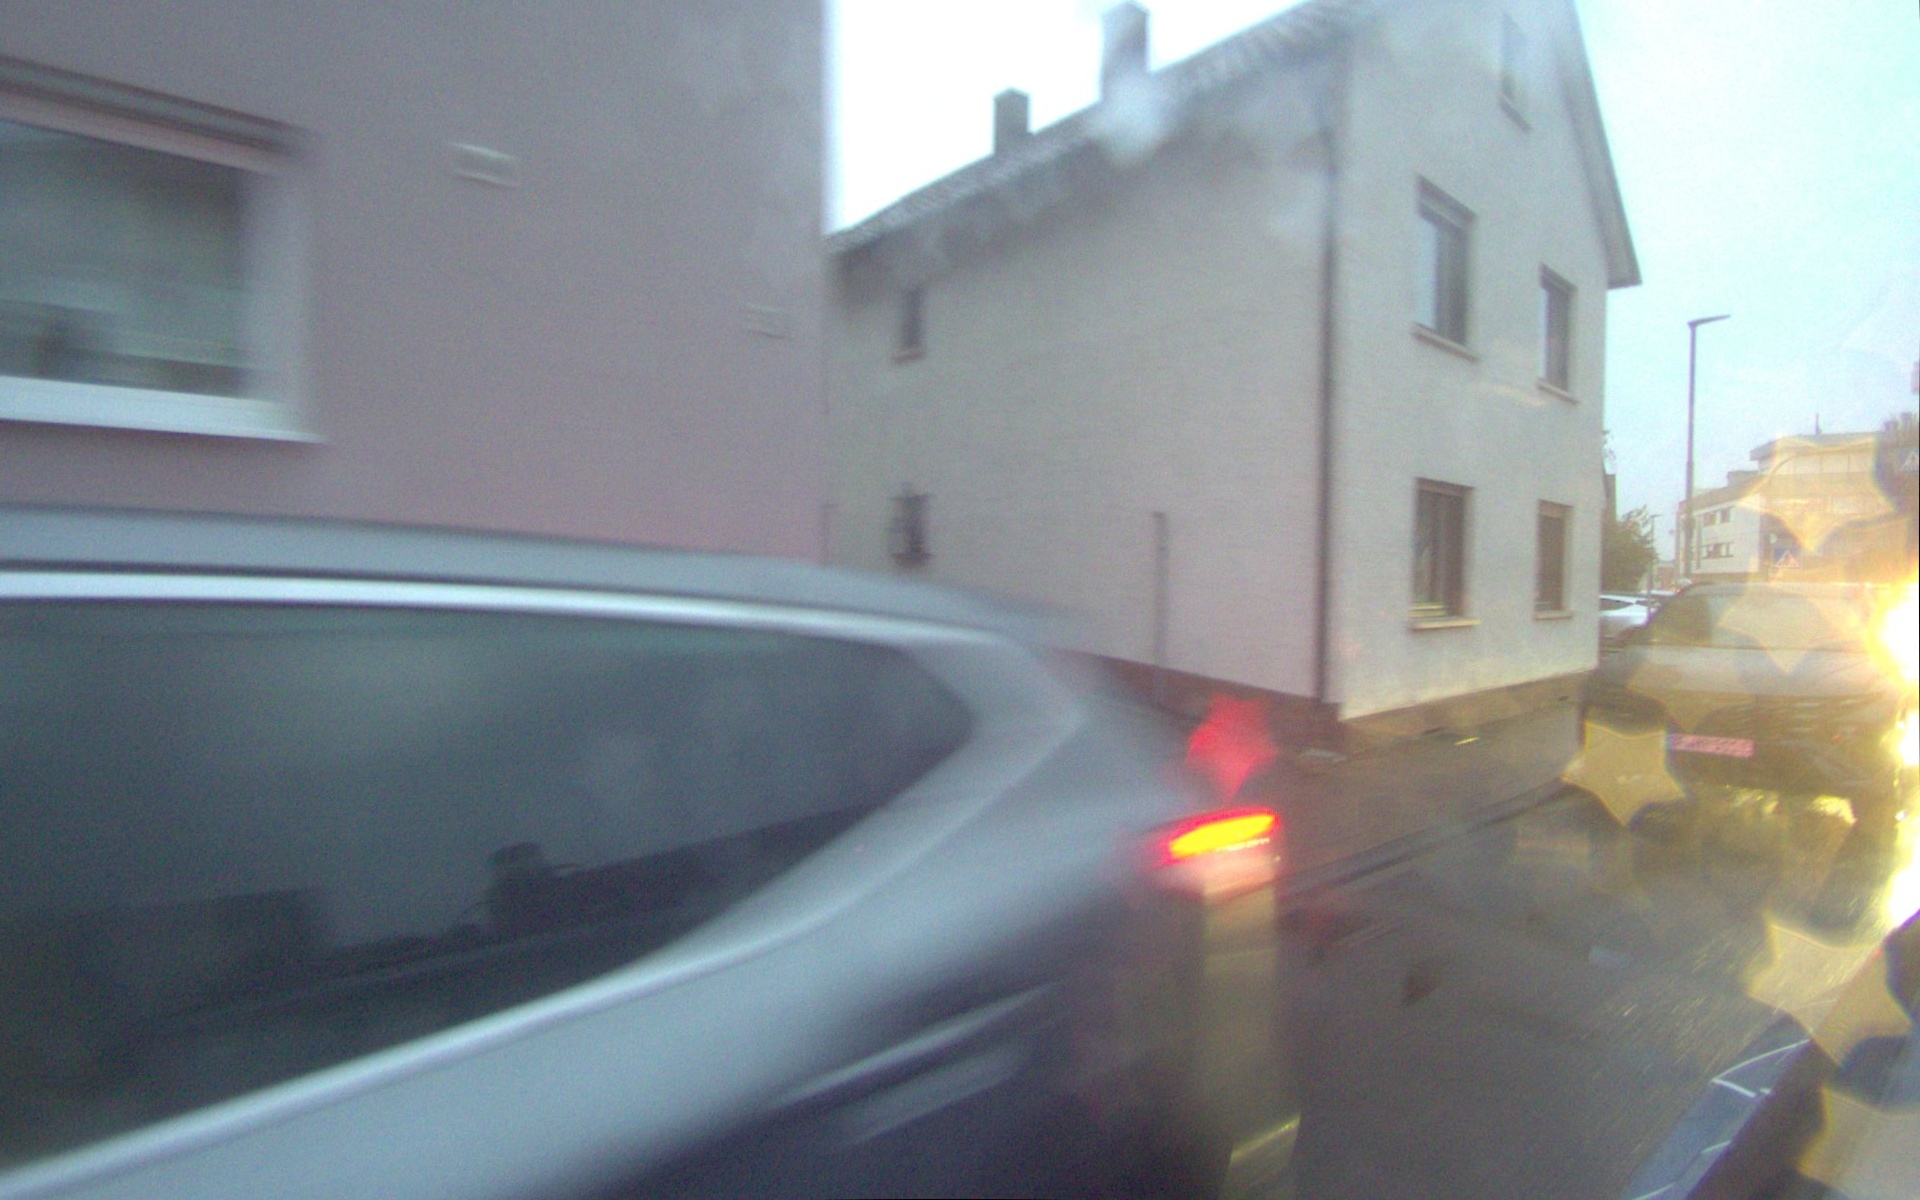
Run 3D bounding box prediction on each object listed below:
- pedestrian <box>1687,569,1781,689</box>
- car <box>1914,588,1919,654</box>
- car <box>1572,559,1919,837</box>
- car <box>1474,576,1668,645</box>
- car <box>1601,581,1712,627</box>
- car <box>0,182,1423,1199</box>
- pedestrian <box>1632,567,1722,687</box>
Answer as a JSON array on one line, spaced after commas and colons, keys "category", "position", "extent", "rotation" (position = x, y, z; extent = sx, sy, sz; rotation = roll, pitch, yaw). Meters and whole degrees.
[{"category": "pedestrian", "position": [11.616, 0.412, 15.183], "extent": [0.975, 1.687, 0.868], "rotation": [1, 3, -42]}, {"category": "car", "position": [24.696, 0.524, 24.663], "extent": [1.916, 1.638, 3.811], "rotation": [0, 0, 41]}, {"category": "car", "position": [6.676, 0.571, 8.172], "extent": [4.262, 1.658, 1.850], "rotation": [0, 0, -43]}, {"category": "car", "position": [15.391, 0.205, 25.594], "extent": [3.900, 1.492, 1.723], "rotation": [3, 2, 43]}, {"category": "car", "position": [31.953, 0.153, 46.520], "extent": [4.031, 1.866, 1.840], "rotation": [4, 2, 36]}, {"category": "car", "position": [-1.328, 0.548, 0.975], "extent": [3.931, 1.553, 1.801], "rotation": [0, 1, -42]}, {"category": "pedestrian", "position": [11.139, 0.394, 15.725], "extent": [0.955, 1.754, 0.850], "rotation": [1, 3, -42]}]
